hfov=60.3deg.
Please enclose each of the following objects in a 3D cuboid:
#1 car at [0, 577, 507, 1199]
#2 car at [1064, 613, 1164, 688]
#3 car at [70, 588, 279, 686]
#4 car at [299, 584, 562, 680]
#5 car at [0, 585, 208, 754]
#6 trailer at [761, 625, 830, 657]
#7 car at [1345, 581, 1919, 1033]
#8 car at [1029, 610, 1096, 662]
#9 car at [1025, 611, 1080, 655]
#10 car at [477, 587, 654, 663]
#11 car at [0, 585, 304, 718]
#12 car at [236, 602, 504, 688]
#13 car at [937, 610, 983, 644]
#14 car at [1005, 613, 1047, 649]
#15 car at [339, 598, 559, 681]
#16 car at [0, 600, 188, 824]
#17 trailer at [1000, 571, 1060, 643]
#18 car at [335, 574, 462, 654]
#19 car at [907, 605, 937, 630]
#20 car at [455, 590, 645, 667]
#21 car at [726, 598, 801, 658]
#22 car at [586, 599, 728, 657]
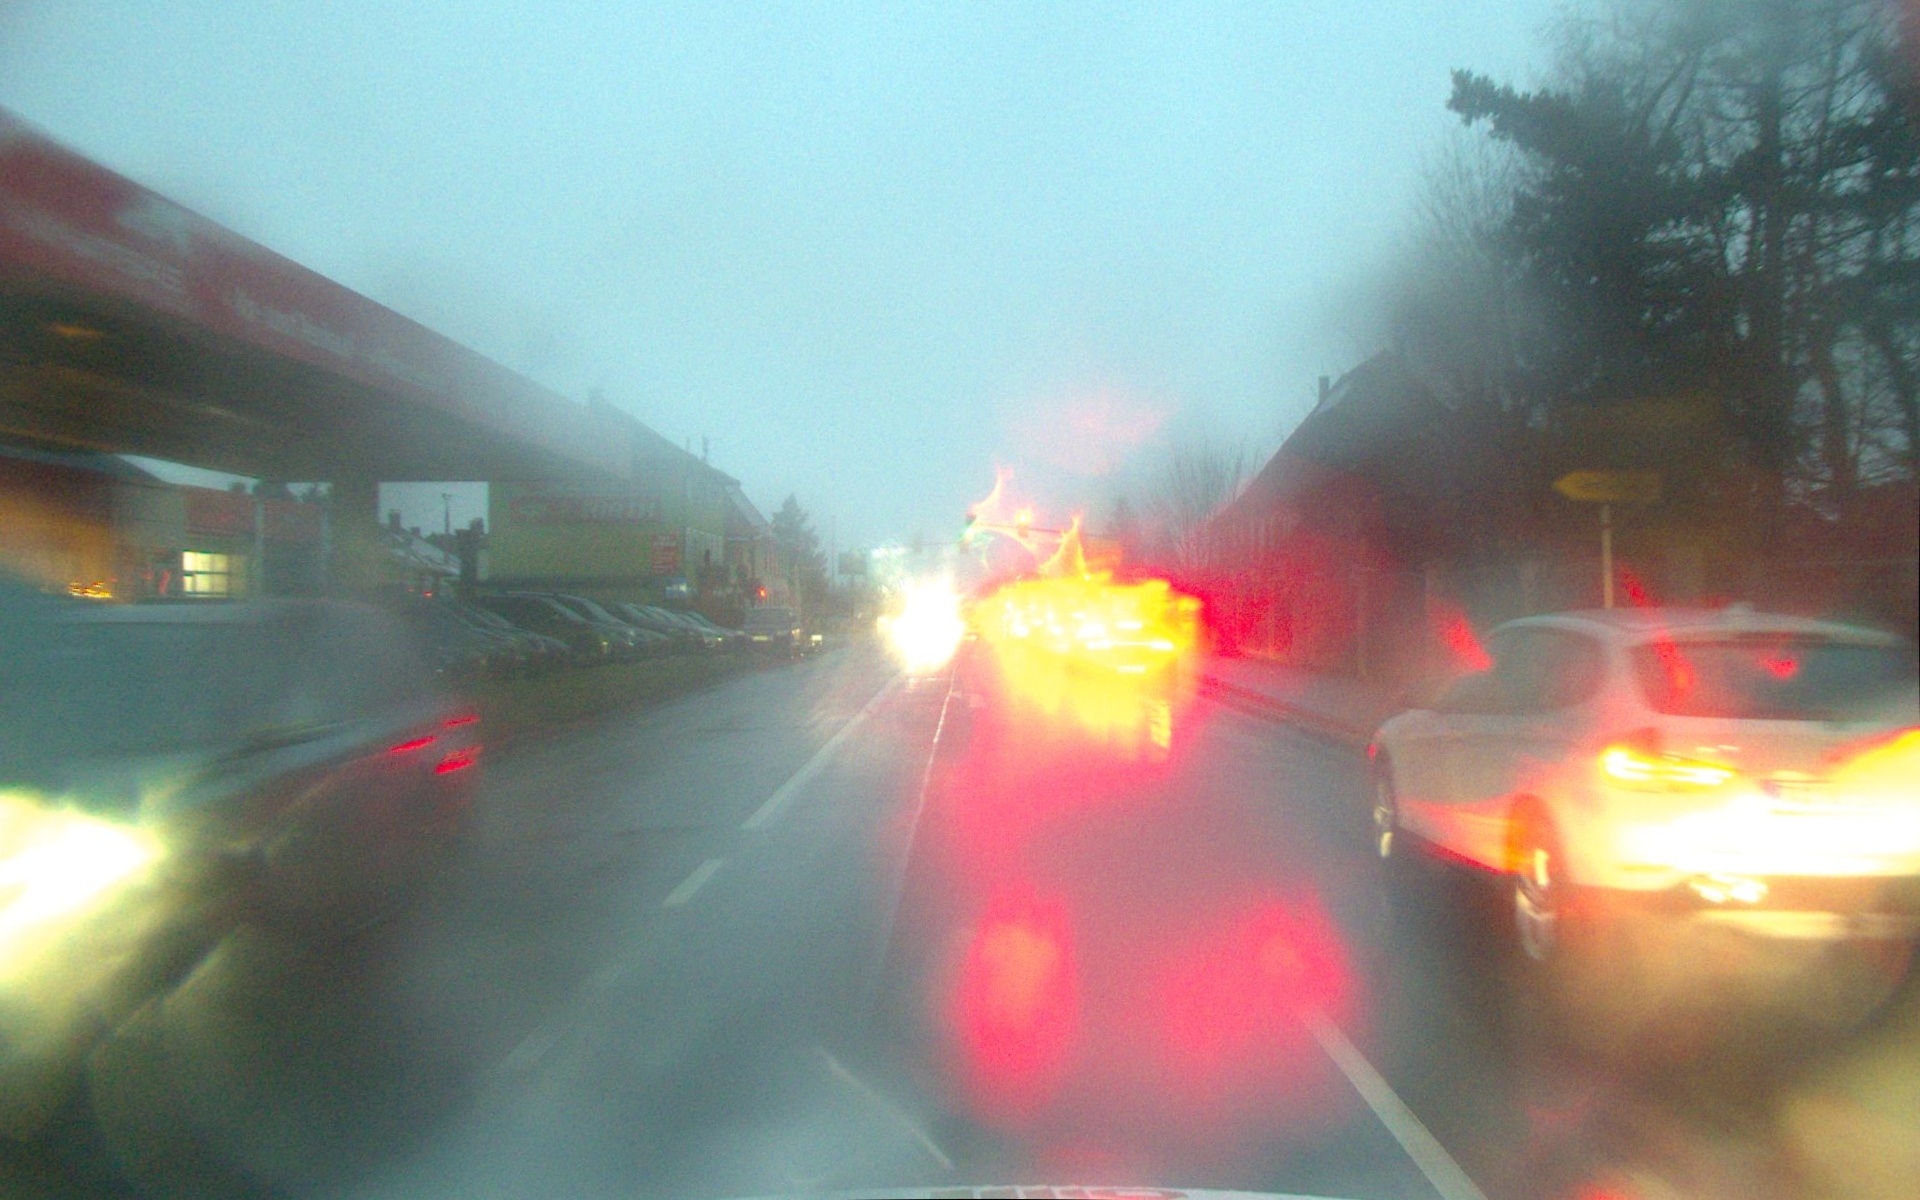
[{"bbox_3d":[-3.017,0.754,6.119,1.570,1.561,3.999,-2,0,-1],"label":"car"},{"bbox_3d":[3.039,0.976,33.412,1.607,1.390,4.769,1,-1,0],"label":"car"},{"bbox_3d":[-14.375,0.643,30.532,1.850,1.685,4.148,0,0,0],"label":"car"},{"bbox_3d":[-9.657,0.580,30.425,4.193,1.686,1.980,0,0,-1],"label":"car"},{"bbox_3d":[-10.109,0.644,16.911,3.948,1.581,1.823,1,0,-1],"label":"car"},{"bbox_3d":[-6.175,1.536,62.812,1.953,1.057,6.103,-1,0,0],"label":"trailer"},{"bbox_3d":[3.222,0.738,8.111,1.673,1.603,4.464,0,0,0],"label":"car"},{"bbox_3d":[2.820,0.962,46.059,1.619,1.359,4.272,0,0,0],"label":"car"},{"bbox_3d":[3.495,1.229,63.213,1.799,1.596,4.503,1,-1,0],"label":"car"},{"bbox_3d":[-10.564,0.666,44.513,4.189,1.794,2.000,3,0,0],"label":"car"},{"bbox_3d":[-10.119,0.581,19.711,3.780,1.434,1.943,1,0,-1],"label":"car"},{"bbox_3d":[-9.766,0.722,27.593,3.779,1.369,1.839,0,0,-1],"label":"car"},{"bbox_3d":[-0.022,1.306,80.655,2.006,1.600,4.700,-1,-1,-3],"label":"car"},{"bbox_3d":[2.803,1.300,71.012,1.628,1.464,4.381,1,-1,0],"label":"car"},{"bbox_3d":[-10.083,0.758,32.858,3.779,1.586,1.839,0,0,-1],"label":"car"},{"bbox_3d":[-7.005,0.726,11.249,1.647,1.445,3.741,0,0,2],"label":"car"},{"bbox_3d":[3.383,0.371,82.335,2.437,3.297,10.866,1,-1,0],"label":"trailer"},{"bbox_3d":[-14.080,0.351,41.707,1.847,1.902,3.999,0,-1,-1],"label":"car"},{"bbox_3d":[-2.828,1.282,123.944,1.952,1.777,4.001,-1,0,3],"label":"car"},{"bbox_3d":[-10.233,0.695,41.499,4.189,1.691,2.000,3,0,0],"label":"car"},{"bbox_3d":[-6.514,0.903,55.191,1.930,1.862,4.512,-1,0,0],"label":"car"},{"bbox_3d":[-9.907,0.906,54.299,4.189,1.655,2.000,3,0,0],"label":"car"}]
